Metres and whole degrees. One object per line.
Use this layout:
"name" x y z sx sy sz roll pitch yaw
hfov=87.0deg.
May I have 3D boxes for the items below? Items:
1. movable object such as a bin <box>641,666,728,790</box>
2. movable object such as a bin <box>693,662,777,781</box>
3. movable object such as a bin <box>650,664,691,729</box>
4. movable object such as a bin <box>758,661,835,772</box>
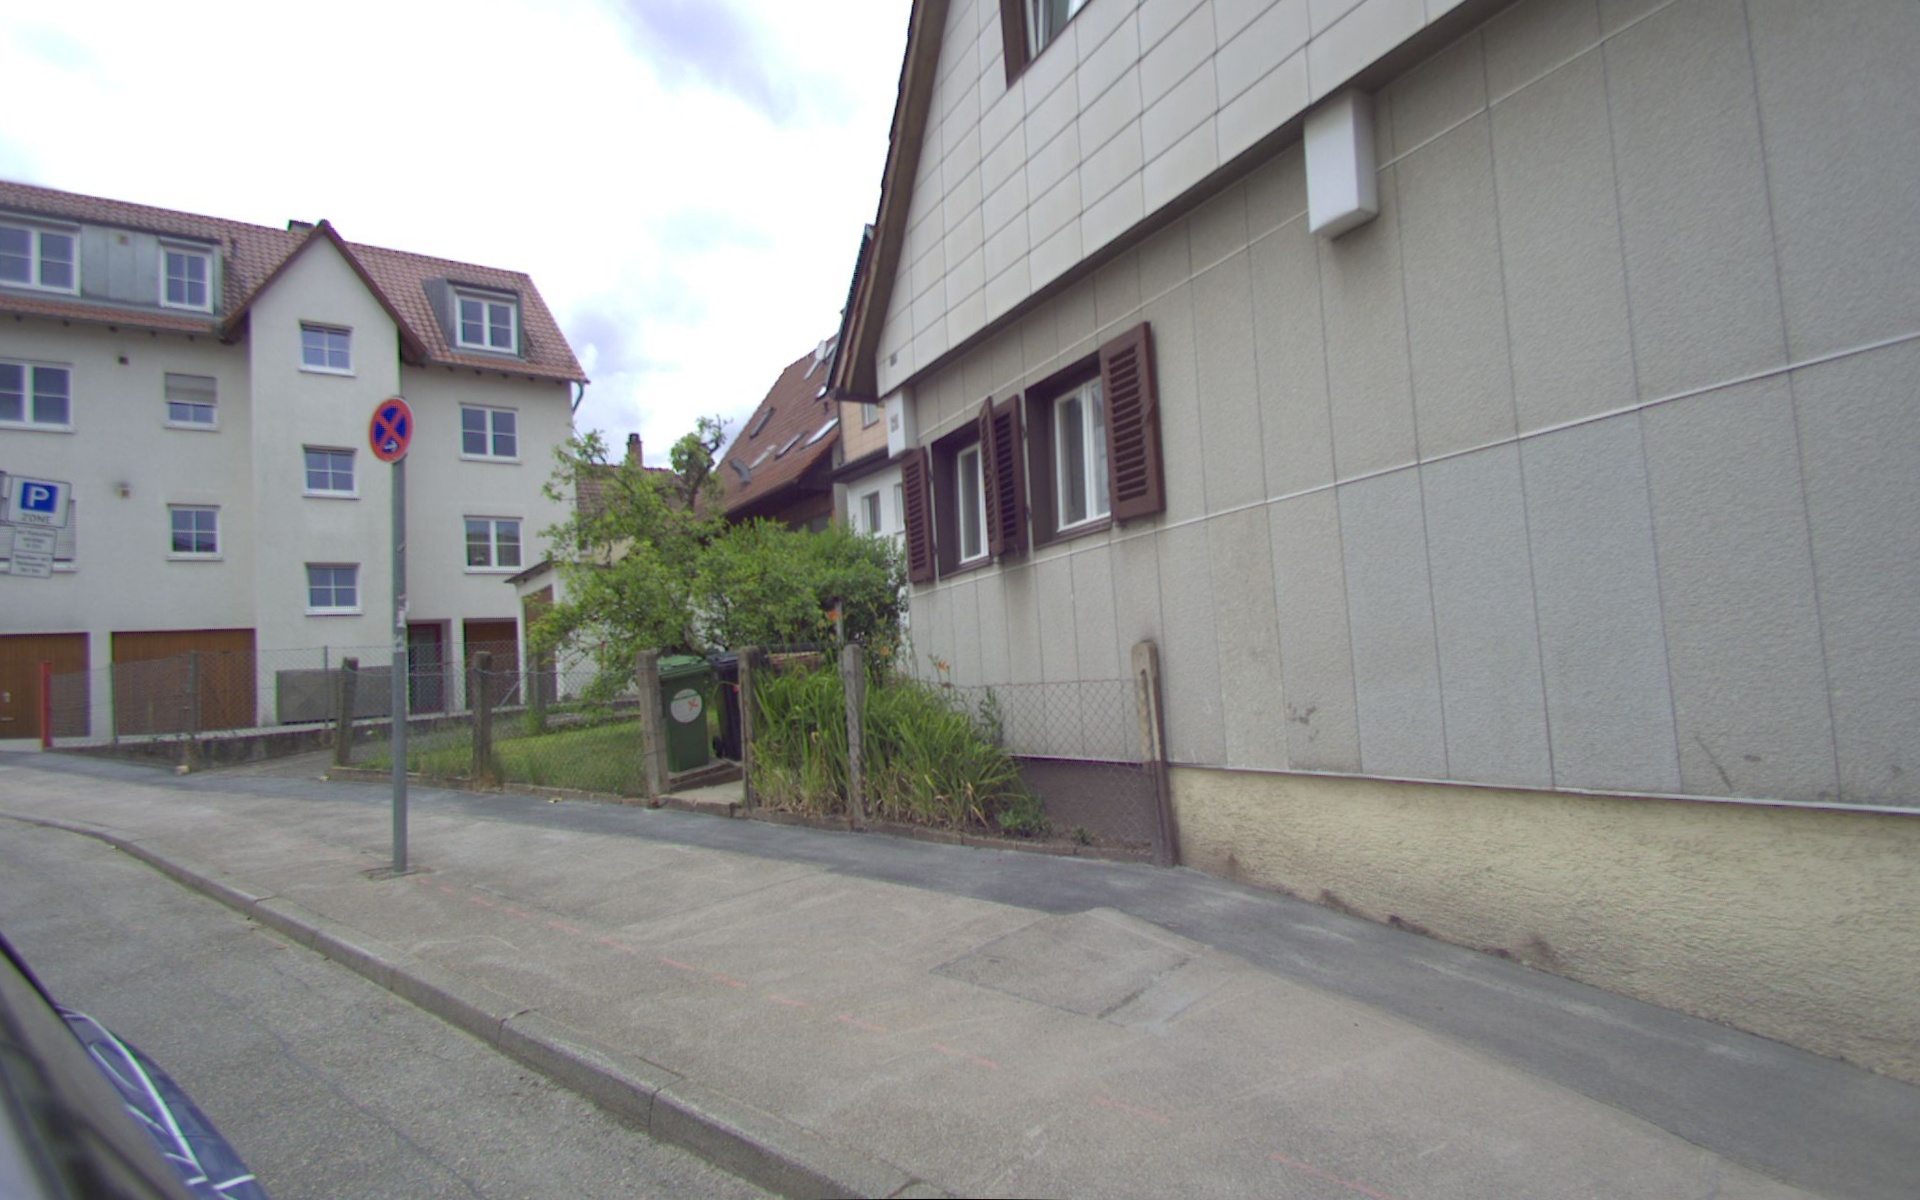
"movable object such as a bin" -2.239 1.017 8.211 0.519 0.890 0.491 -4 1 -31
"movable object such as a bin" -1.936 1.025 8.703 0.519 0.924 0.491 -4 1 -31
"movable object such as a bin" -4.136 1.375 14.460 0.371 0.900 0.490 2 -4 -43
"movable object such as a bin" -1.445 1.010 8.937 0.487 0.884 0.454 -4 1 -30
